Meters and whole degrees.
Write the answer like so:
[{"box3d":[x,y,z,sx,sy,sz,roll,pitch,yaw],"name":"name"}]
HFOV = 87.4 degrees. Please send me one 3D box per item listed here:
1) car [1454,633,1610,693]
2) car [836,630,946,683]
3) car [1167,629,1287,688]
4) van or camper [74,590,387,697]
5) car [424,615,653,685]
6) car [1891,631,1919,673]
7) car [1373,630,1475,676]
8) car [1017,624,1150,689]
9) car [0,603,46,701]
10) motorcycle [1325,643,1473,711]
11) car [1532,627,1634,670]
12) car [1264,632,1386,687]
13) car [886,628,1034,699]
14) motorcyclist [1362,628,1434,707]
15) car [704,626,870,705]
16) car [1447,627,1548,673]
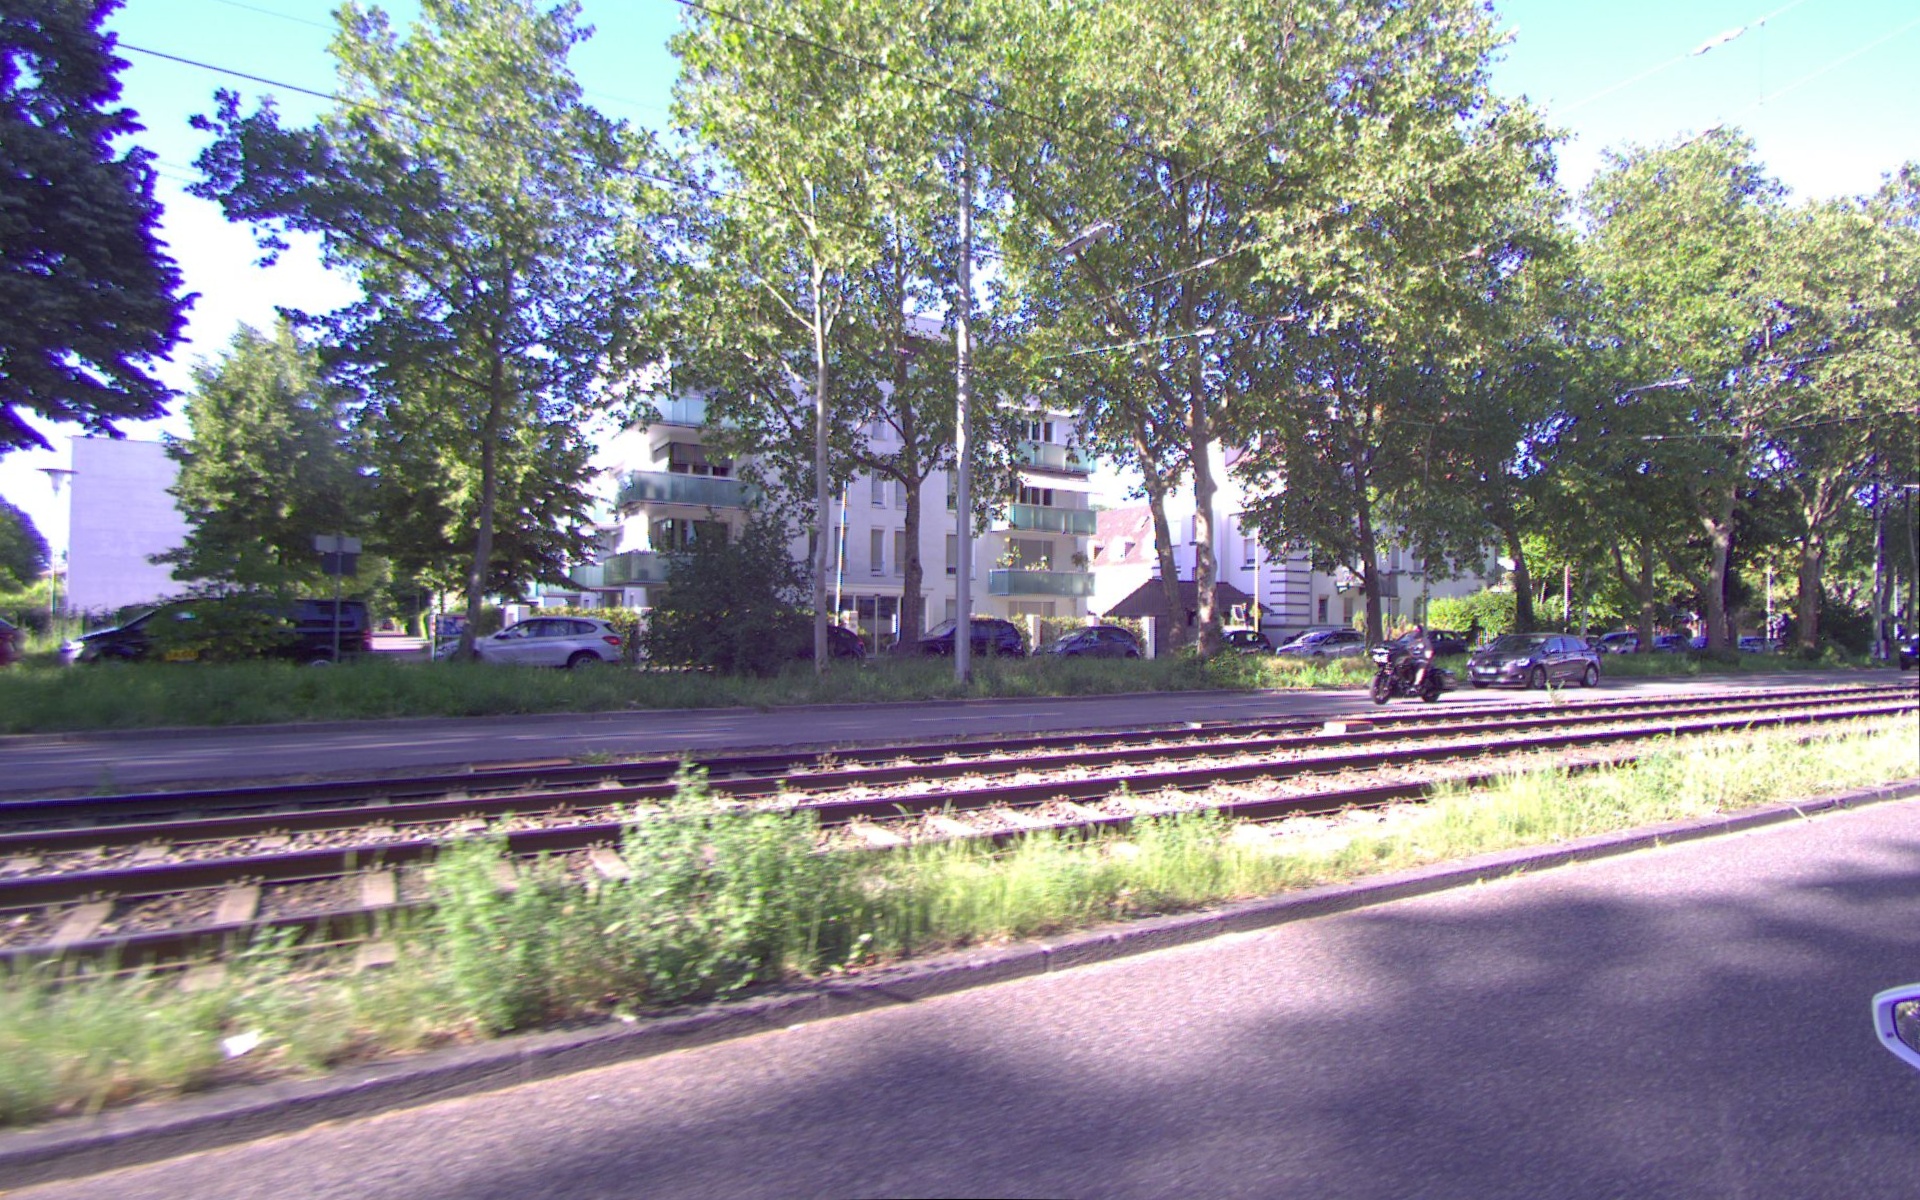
[{"box3d":[15.789,1.728,27.687,4.287,1.527,1.788,1,-4,-30],"name":"car"},{"box3d":[-2.760,2.209,40.182,3.953,2.040,1.984,1,-2,-30],"name":"car"},{"box3d":[9.790,2.094,36.787,4.052,2.040,1.985,1,-1,-29],"name":"car"},{"box3d":[-15.278,0.909,21.519,5.158,2.040,2.254,2,-2,-32],"name":"van or camper"},{"box3d":[-10.290,1.244,24.896,5.013,1.619,2.025,1,-4,-21],"name":"car"},{"box3d":[44.697,2.339,45.740,4.815,1.895,1.985,1,-3,-30],"name":"car"},{"box3d":[20.003,2.234,43.260,4.501,1.860,1.812,1,-1,-31],"name":"car"},{"box3d":[4.125,1.831,33.438,4.046,2.040,1.984,1,-1,-31],"name":"car"},{"box3d":[-20.168,0.963,18.423,4.686,1.833,2.097,1,-1,-33],"name":"car"},{"box3d":[8.756,1.480,19.979,3.312,1.228,0.959,1,-2,-31],"name":"motorcycle"},{"box3d":[30.642,2.338,49.372,5.207,2.040,2.142,1,-1,-31],"name":"car"},{"box3d":[14.444,2.291,39.741,4.626,2.040,1.985,1,-1,-29],"name":"car"},{"box3d":[0.022,1.889,30.804,4.125,2.040,1.984,1,-2,-31],"name":"car"},{"box3d":[8.721,1.318,20.012,0.947,1.533,0.939,1,-1,-30],"name":"motorcyclist"},{"box3d":[-4.782,1.755,27.919,4.115,2.040,1.983,1,-1,-32],"name":"car"},{"box3d":[24.664,2.247,46.064,4.629,2.040,1.984,1,-1,-31],"name":"car"}]
